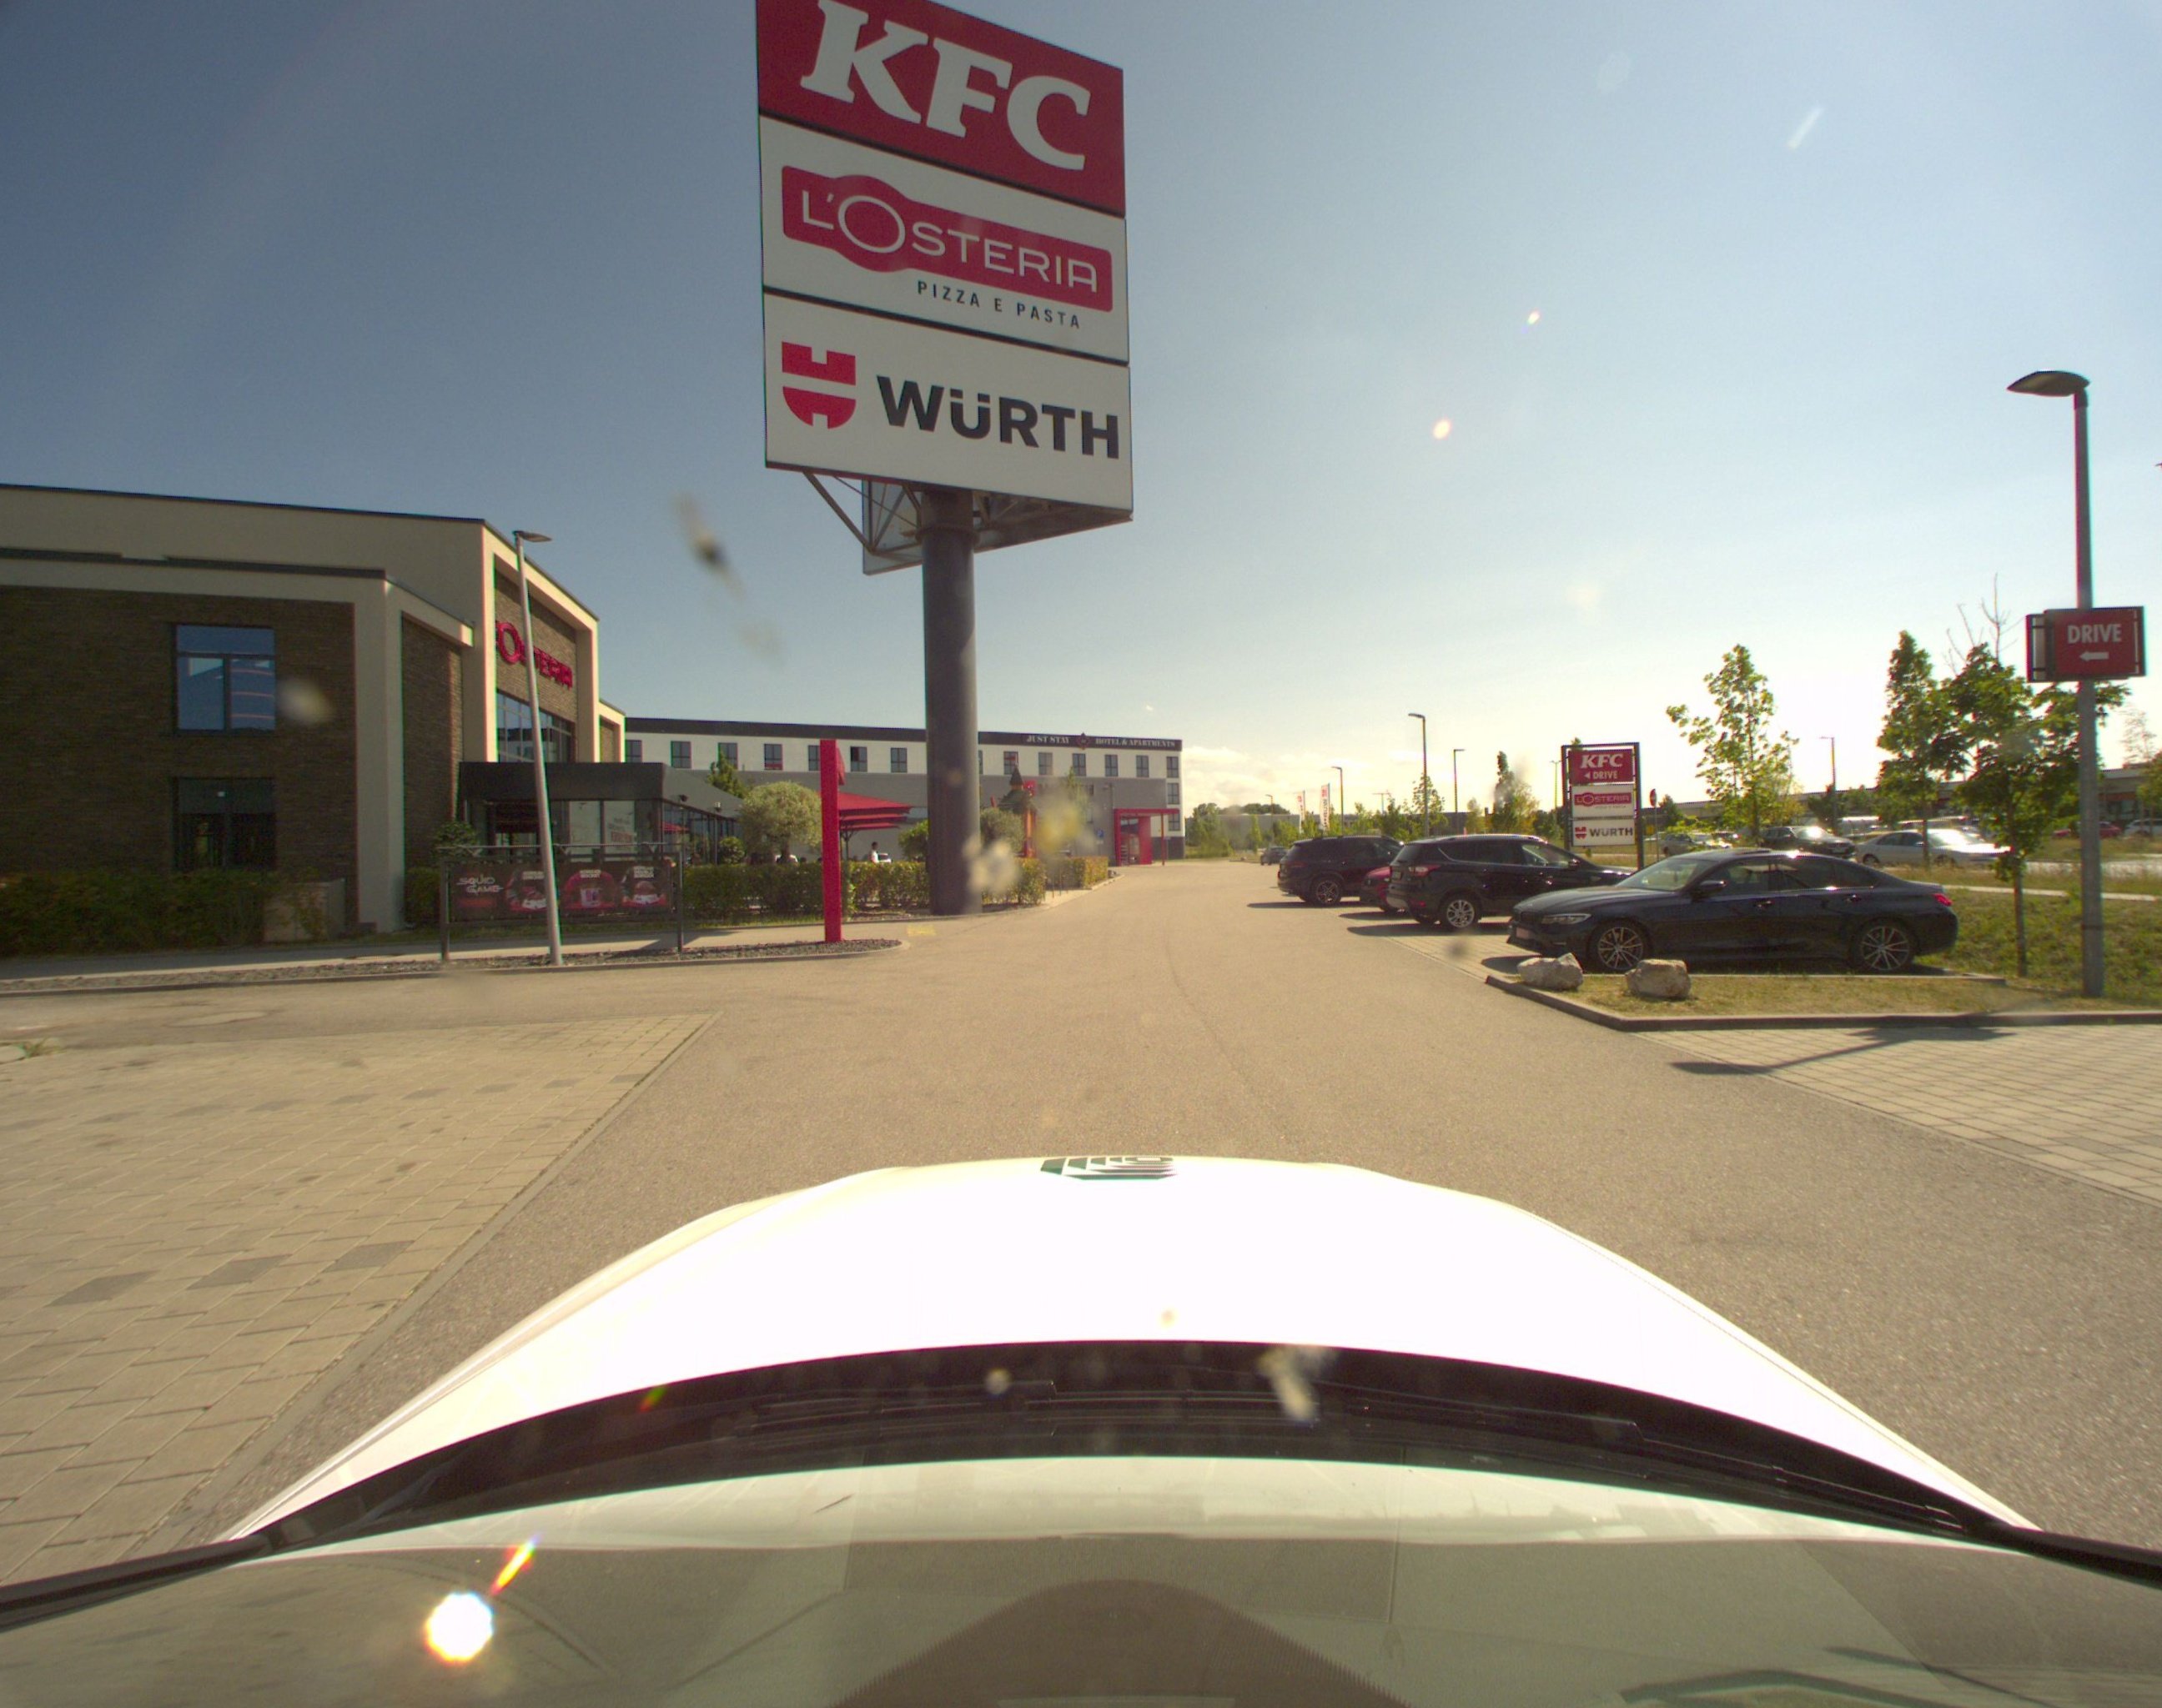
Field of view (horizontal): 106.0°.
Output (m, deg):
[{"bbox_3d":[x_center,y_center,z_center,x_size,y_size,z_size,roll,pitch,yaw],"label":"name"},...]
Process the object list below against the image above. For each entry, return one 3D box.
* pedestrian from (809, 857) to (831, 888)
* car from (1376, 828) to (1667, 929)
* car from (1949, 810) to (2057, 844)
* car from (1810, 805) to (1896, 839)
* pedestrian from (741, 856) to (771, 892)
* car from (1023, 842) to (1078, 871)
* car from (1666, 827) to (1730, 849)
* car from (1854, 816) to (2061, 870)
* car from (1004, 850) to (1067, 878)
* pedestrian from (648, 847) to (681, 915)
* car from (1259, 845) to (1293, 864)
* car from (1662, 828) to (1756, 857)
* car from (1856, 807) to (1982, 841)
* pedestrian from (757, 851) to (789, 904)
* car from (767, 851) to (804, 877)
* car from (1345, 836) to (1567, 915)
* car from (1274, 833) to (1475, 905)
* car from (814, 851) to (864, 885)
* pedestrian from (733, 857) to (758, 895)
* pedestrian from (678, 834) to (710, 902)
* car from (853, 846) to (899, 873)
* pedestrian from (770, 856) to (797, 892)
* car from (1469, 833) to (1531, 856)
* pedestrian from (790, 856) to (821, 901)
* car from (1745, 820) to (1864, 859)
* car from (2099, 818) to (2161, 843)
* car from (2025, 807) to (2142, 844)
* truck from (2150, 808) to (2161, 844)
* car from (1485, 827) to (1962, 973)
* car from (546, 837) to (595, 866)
[{"bbox_3d":[-9.521,0.673,29.696,0.574,1.089,0.545,-1,0,2],"label":"pedestrian"},{"bbox_3d":[7.875,0.425,14.936,4.296,1.702,1.899,-1,0,6],"label":"car"},{"bbox_3d":[60.098,-1.755,53.116,5.153,2.013,1.997,-1,1,-5],"label":"car"},{"bbox_3d":[59.723,-2.484,63.026,5.051,2.455,1.997,-1,1,-5],"label":"car"},{"bbox_3d":[-11.214,0.692,28.100,0.702,1.198,0.619,-1,1,16],"label":"pedestrian"},{"bbox_3d":[-2.105,0.147,55.059,2.080,1.880,4.842,-2,1,-23],"label":"car"},{"bbox_3d":[61.648,-1.594,81.381,5.051,2.013,1.997,-1,1,-5],"label":"car"},{"bbox_3d":[28.154,-0.361,26.447,1.984,1.526,4.665,-1,1,6],"label":"car"},{"bbox_3d":[-2.482,0.502,43.539,1.872,1.362,4.340,-2,1,-25],"label":"car"},{"bbox_3d":[-9.332,0.592,18.277,0.525,1.505,0.566,-2,0,-17],"label":"pedestrian"},{"bbox_3d":[14.936,0.020,62.609,1.693,1.406,3.896,-1,0,0],"label":"car"},{"bbox_3d":[35.135,-0.633,45.756,1.984,1.504,4.664,-1,1,5],"label":"car"},{"bbox_3d":[60.181,-2.124,58.584,6.273,2.237,2.816,-1,1,-1],"label":"car"},{"bbox_3d":[-8.225,0.612,21.772,0.654,1.366,0.476,-2,1,-39],"label":"pedestrian"},{"bbox_3d":[-17.866,0.579,49.162,1.740,1.487,3.918,-2,1,-25],"label":"car"},{"bbox_3d":[8.134,0.438,17.956,4.051,1.608,1.897,-1,1,3],"label":"car"},{"bbox_3d":[7.485,0.372,21.119,4.556,1.760,1.897,-1,0,3],"label":"car"},{"bbox_3d":[-10.200,0.575,34.534,1.643,1.308,3.827,-2,0,-11],"label":"car"},{"bbox_3d":[-11.108,0.716,27.001,0.710,1.198,0.663,-2,1,-22],"label":"pedestrian"},{"bbox_3d":[-8.707,0.309,18.314,0.525,1.505,0.566,-2,0,-17],"label":"pedestrian"},{"bbox_3d":[-13.038,0.299,51.624,1.957,1.586,4.340,-2,1,-25],"label":"car"},{"bbox_3d":[-10.280,0.696,28.143,0.707,1.198,0.615,-1,1,-6],"label":"pedestrian"},{"bbox_3d":[33.130,-0.774,64.494,1.992,1.732,4.746,-1,1,-8],"label":"car"},{"bbox_3d":[-7.448,0.657,22.008,0.654,1.185,0.476,-2,1,-39],"label":"pedestrian"},{"bbox_3d":[33.686,-0.667,38.110,1.863,1.664,4.612,-1,1,7],"label":"car"},{"bbox_3d":[74.853,-1.653,57.071,1.991,1.618,3.992,-2,0,-6],"label":"car"},{"bbox_3d":[59.176,-1.660,48.137,4.053,2.013,2.005,-1,1,9],"label":"car"},{"bbox_3d":[57.648,-1.474,40.707,5.388,1.863,2.003,-1,1,5],"label":"truck"},{"bbox_3d":[7.777,0.537,10.273,4.415,1.638,1.898,-1,0,5],"label":"car"},{"bbox_3d":[-29.280,-0.144,46.793,1.645,1.567,3.658,-2,1,-20],"label":"car"}]
